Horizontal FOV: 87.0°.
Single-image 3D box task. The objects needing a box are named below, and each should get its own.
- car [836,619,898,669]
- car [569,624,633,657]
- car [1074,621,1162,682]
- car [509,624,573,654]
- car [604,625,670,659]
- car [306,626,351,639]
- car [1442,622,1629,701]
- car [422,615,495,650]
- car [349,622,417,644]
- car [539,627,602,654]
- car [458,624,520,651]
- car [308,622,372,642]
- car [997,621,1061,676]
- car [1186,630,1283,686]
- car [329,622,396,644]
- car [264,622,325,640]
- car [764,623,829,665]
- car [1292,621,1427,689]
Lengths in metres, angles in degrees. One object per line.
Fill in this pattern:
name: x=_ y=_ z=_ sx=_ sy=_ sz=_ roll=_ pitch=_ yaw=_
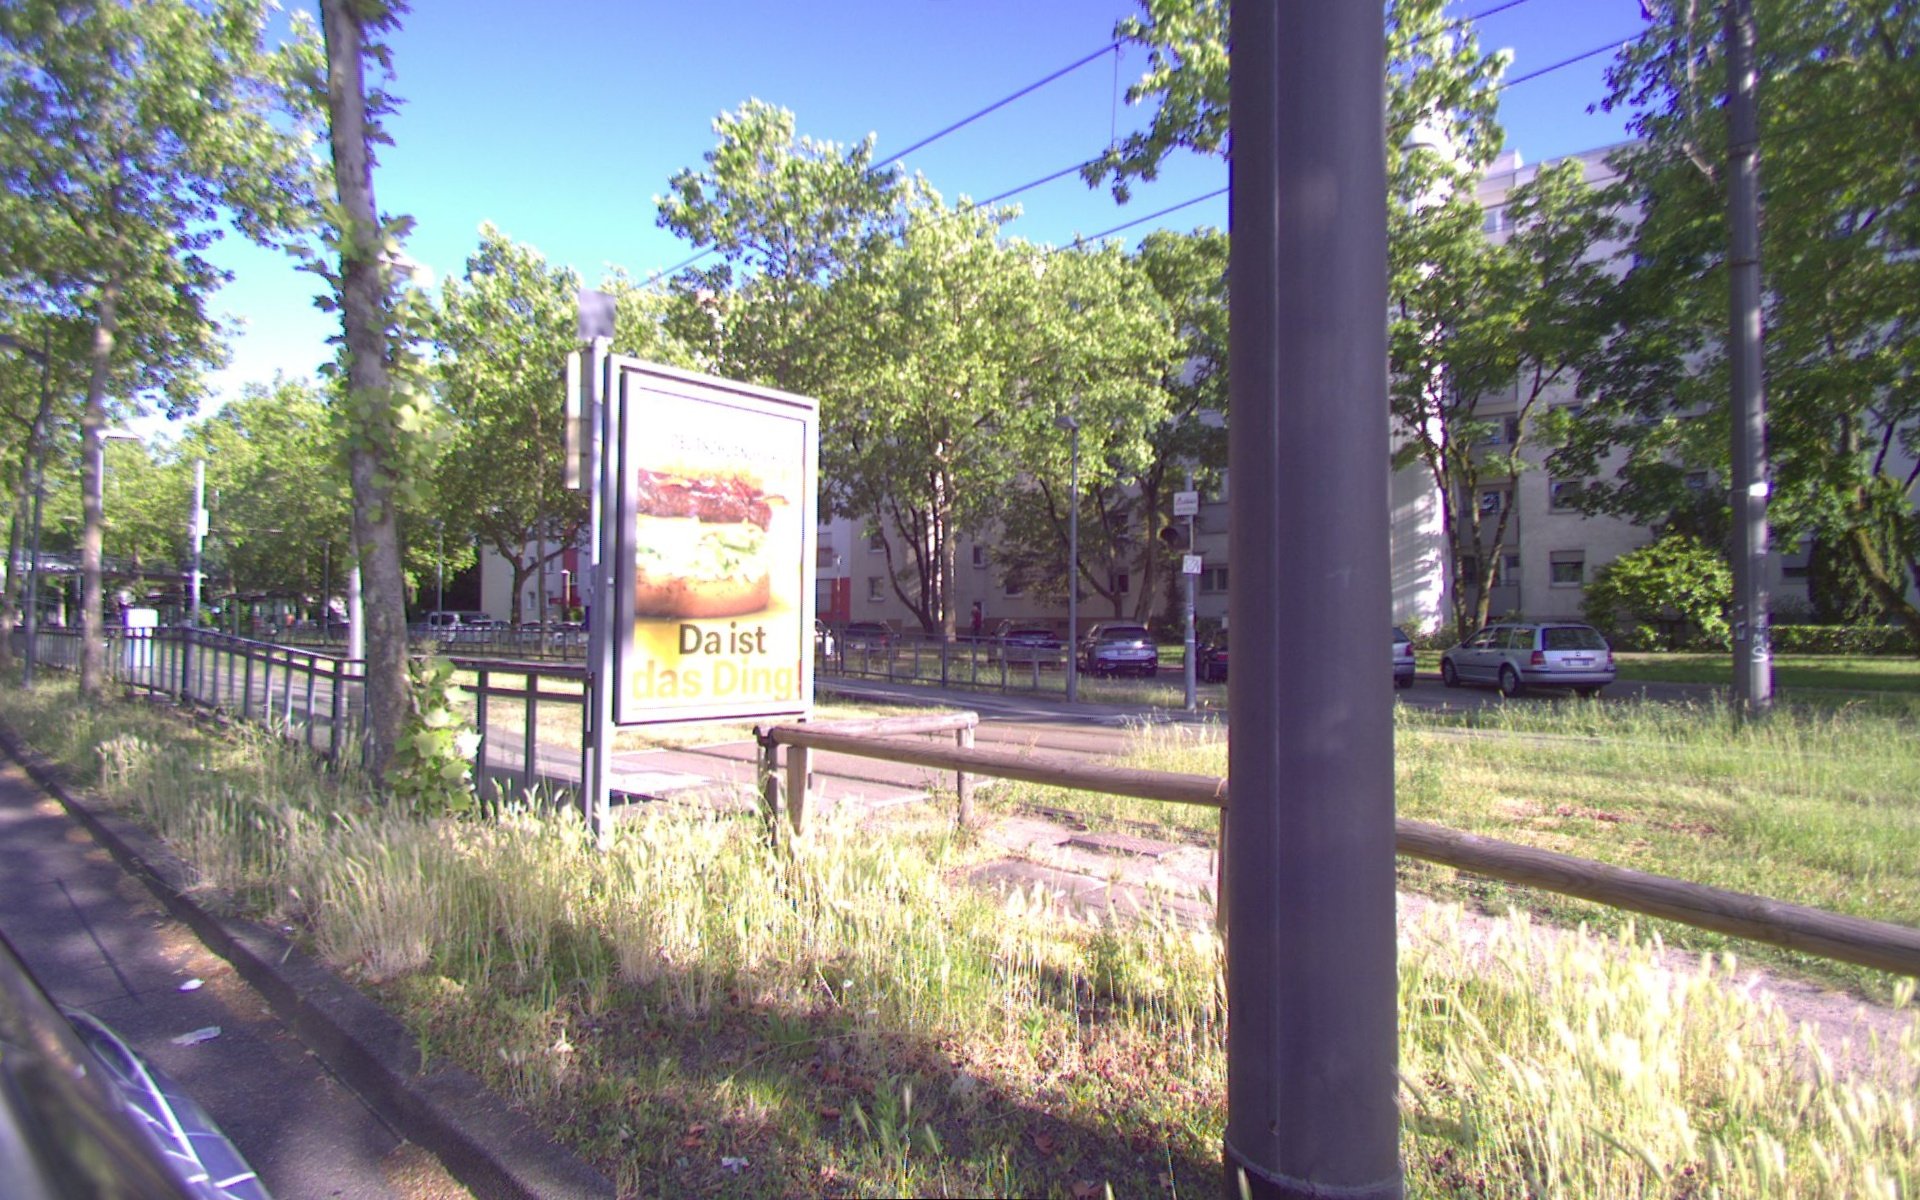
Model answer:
car: x=-3.099 y=1.457 z=34.462 sx=1.664 sy=1.579 sz=3.679 roll=0 pitch=-1 yaw=2
car: x=-16.674 y=1.841 z=47.130 sx=1.627 sy=1.460 sz=3.680 roll=0 pitch=-1 yaw=1
car: x=4.215 y=1.345 z=27.487 sx=1.894 sy=1.507 sz=3.680 roll=0 pitch=-1 yaw=2
car: x=-21.115 y=1.957 z=51.128 sx=1.627 sy=1.460 sz=3.680 roll=0 pitch=-1 yaw=1
car: x=-14.075 y=1.818 z=44.274 sx=1.627 sy=1.403 sz=3.679 roll=0 pitch=-1 yaw=2
car: x=-69.119 y=3.568 z=110.852 sx=3.965 sy=1.353 sz=1.624 roll=1 pitch=-2 yaw=-43
car: x=11.556 y=1.176 z=20.622 sx=1.707 sy=1.444 sz=3.681 roll=0 pitch=-1 yaw=1
car: x=-28.319 y=1.824 z=57.322 sx=1.898 sy=1.898 sz=4.365 roll=0 pitch=-1 yaw=1
car: x=-37.881 y=2.154 z=66.585 sx=1.898 sy=1.386 sz=4.365 roll=0 pitch=-1 yaw=1
car: x=-19.038 y=1.979 z=49.660 sx=1.627 sy=1.251 sz=3.680 roll=0 pitch=-1 yaw=1
car: x=-25.790 y=2.033 z=55.513 sx=1.627 sy=1.407 sz=3.680 roll=0 pitch=-1 yaw=1
car: x=-44.637 y=2.279 z=72.978 sx=1.898 sy=1.386 sz=4.365 roll=0 pitch=-1 yaw=1
car: x=1.942 y=1.367 z=29.440 sx=1.664 sy=1.482 sz=3.680 roll=0 pitch=-1 yaw=1
car: x=6.737 y=1.400 z=25.201 sx=1.602 sy=1.256 sz=3.677 roll=0 pitch=-1 yaw=4
car: x=-40.275 y=2.202 z=68.385 sx=1.898 sy=1.386 sz=4.365 roll=0 pitch=-1 yaw=1
car: x=-52.138 y=2.401 z=79.358 sx=1.898 sy=1.386 sz=4.365 roll=0 pitch=-1 yaw=1
car: x=-5.901 y=1.570 z=36.912 sx=1.664 sy=1.444 sz=3.679 roll=0 pitch=-1 yaw=2
car: x=9.161 y=1.219 z=23.521 sx=1.679 sy=1.444 sz=3.681 roll=0 pitch=-1 yaw=1
